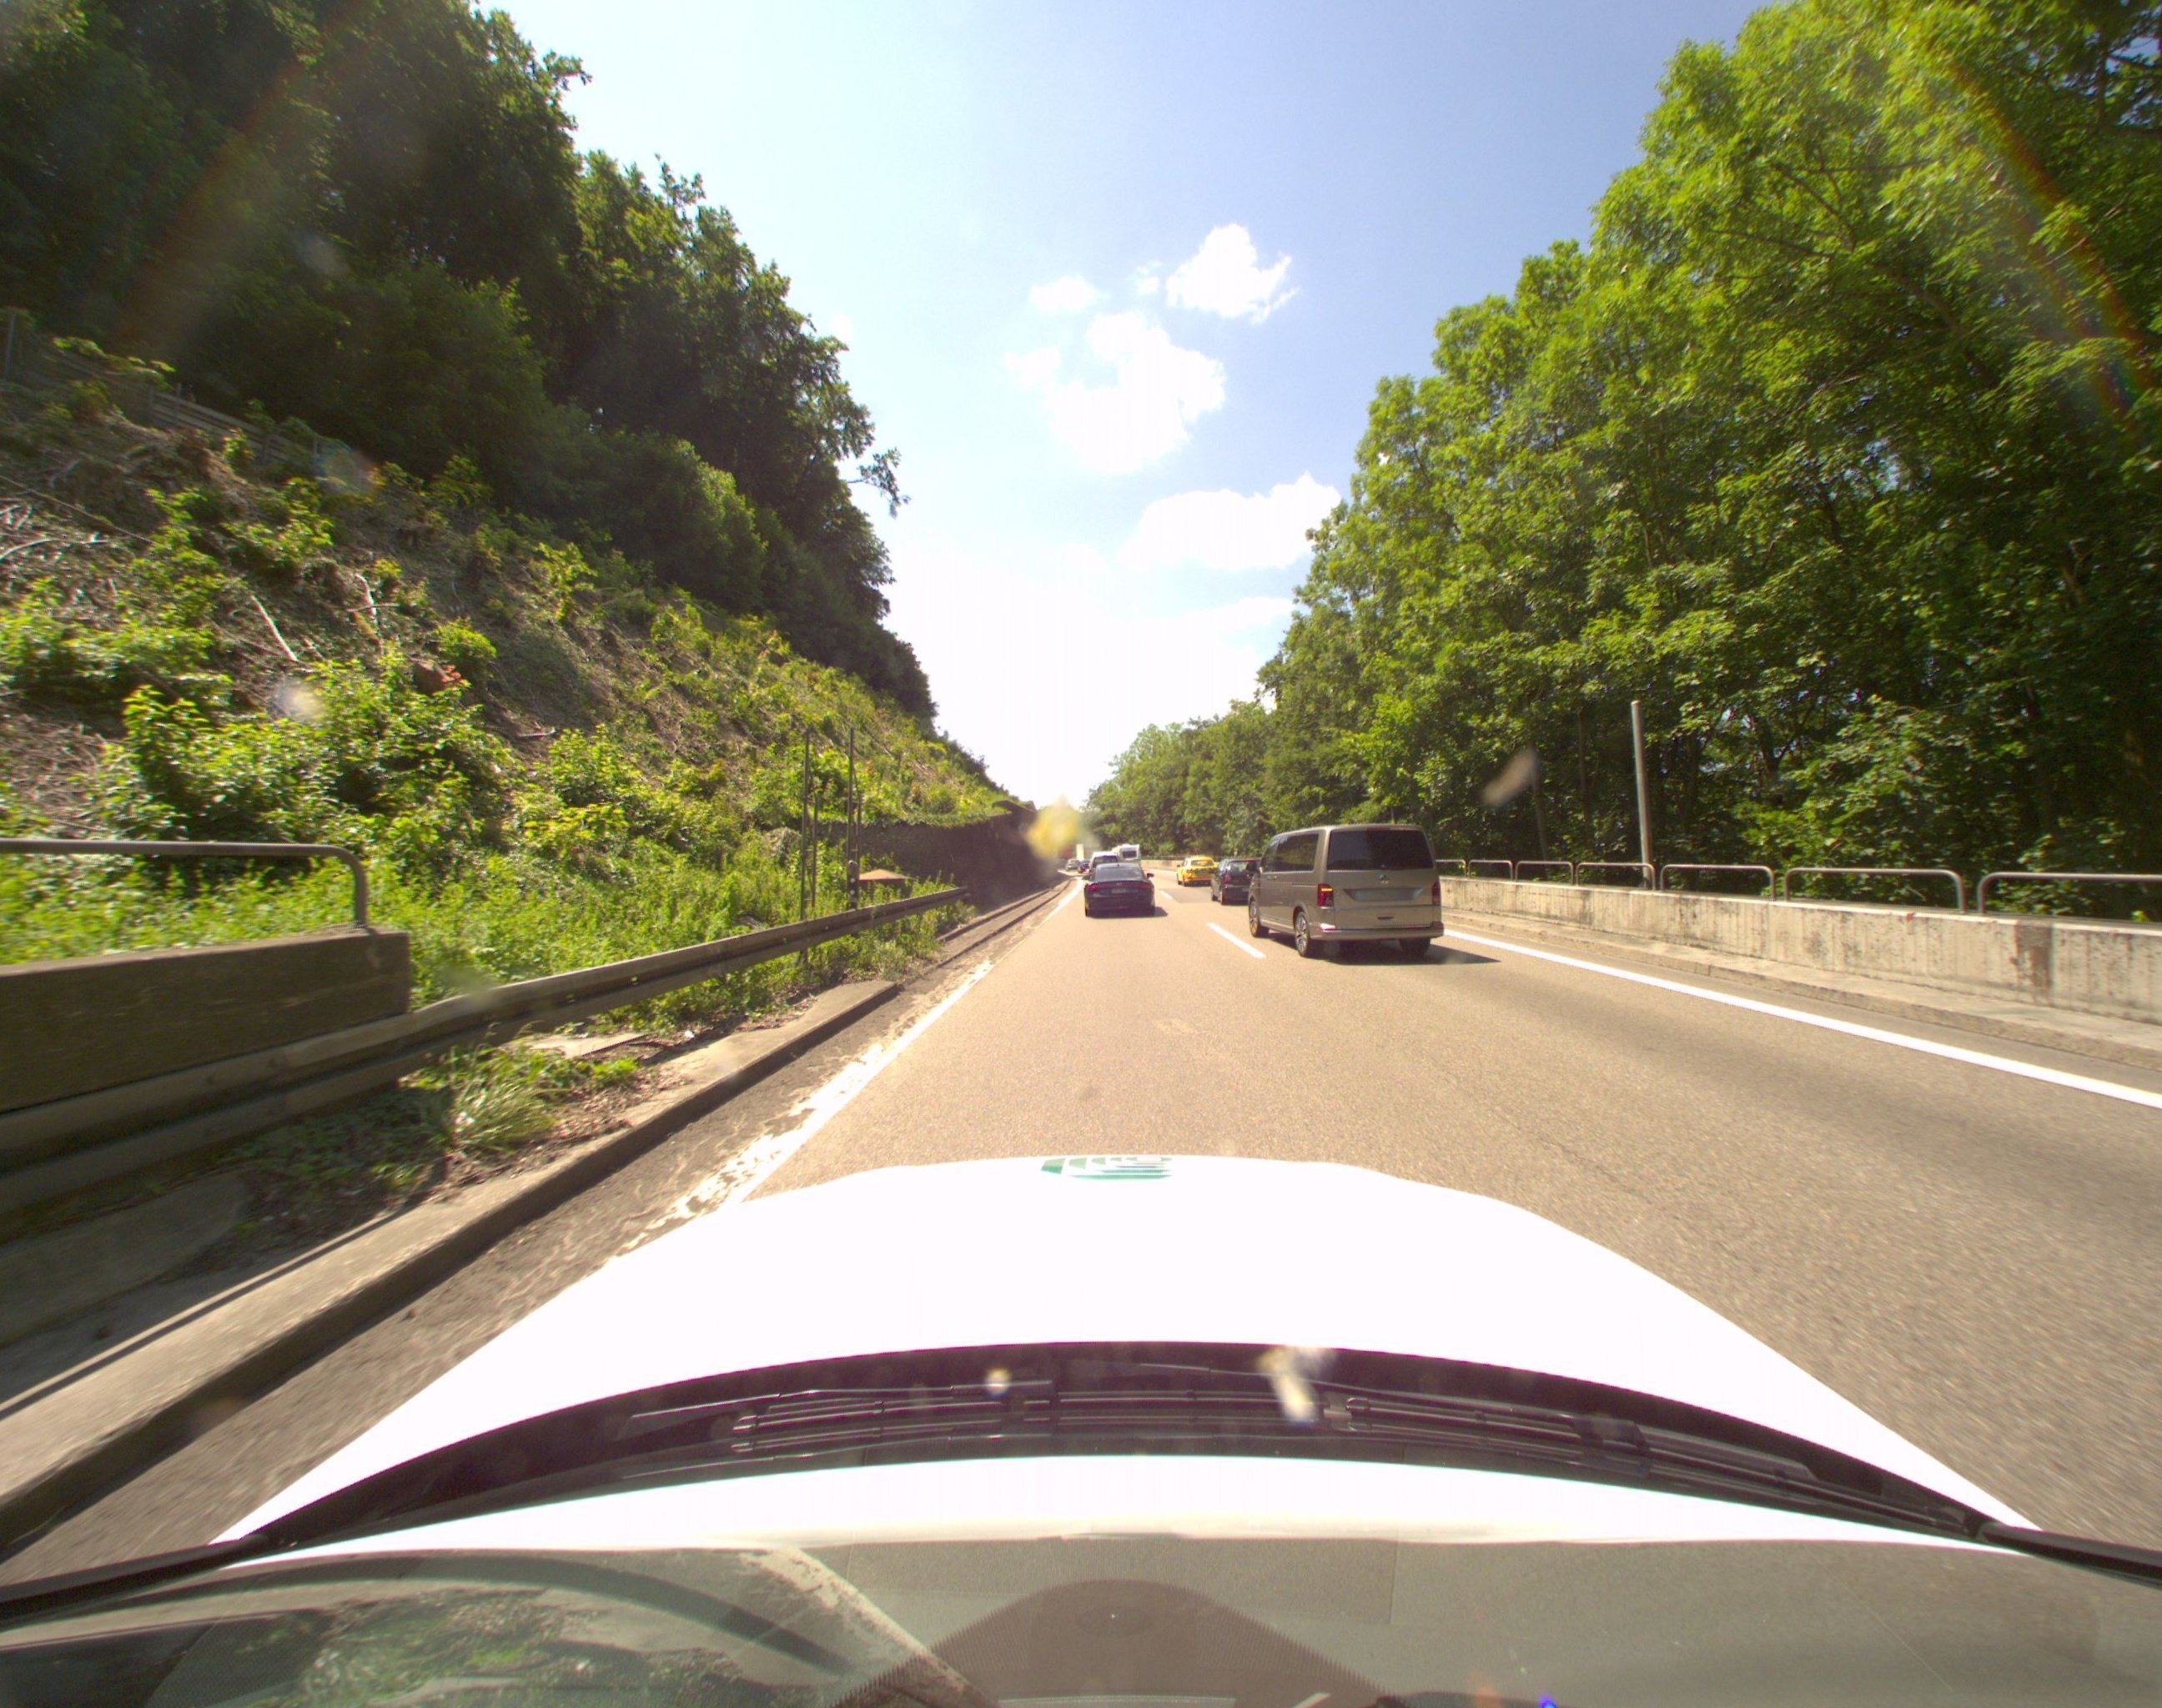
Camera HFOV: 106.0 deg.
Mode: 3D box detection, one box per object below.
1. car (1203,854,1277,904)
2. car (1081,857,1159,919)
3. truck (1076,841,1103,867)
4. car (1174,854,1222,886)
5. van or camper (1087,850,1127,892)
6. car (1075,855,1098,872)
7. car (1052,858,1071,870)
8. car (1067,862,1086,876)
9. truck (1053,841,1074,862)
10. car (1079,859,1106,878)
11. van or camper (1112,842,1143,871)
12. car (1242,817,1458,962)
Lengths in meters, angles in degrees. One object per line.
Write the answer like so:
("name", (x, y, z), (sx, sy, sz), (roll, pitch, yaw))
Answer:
("car", (5.020, 0.758, 26.230), (1.679, 1.458, 4.001), (-1, 0, 1))
("car", (0.999, 0.876, 22.991), (1.899, 1.489, 4.377), (-3, 0, -1))
("truck", (1.215, 0.018, 121.611), (2.922, 3.687, 7.706), (2, 0, -6))
("car", (5.932, 0.792, 41.691), (1.803, 1.478, 4.079), (1, 0, -1))
("van or camper", (1.303, 0.830, 40.668), (1.846, 1.942, 4.167), (1, 0, 2))
("car", (0.571, 1.006, 85.310), (1.856, 1.619, 3.990), (-3, 0, -7))
("car", (-2.719, 1.340, 112.863), (1.754, 1.571, 3.752), (0, 0, -14))
("car", (-0.567, 1.786, 99.420), (1.991, 1.618, 3.992), (1, 0, -6))
("truck", (-3.119, -0.366, 144.364), (3.157, 3.468, 8.209), (2, 0, -4))
("car", (0.950, 1.184, 68.175), (1.892, 1.584, 3.763), (0, 0, -6))
("van or camper", (4.788, 0.252, 84.923), (2.597, 2.855, 6.330), (0, 0, -2))
("car", (4.147, 0.491, 13.478), (1.935, 1.931, 4.692), (-1, 0, -1))
